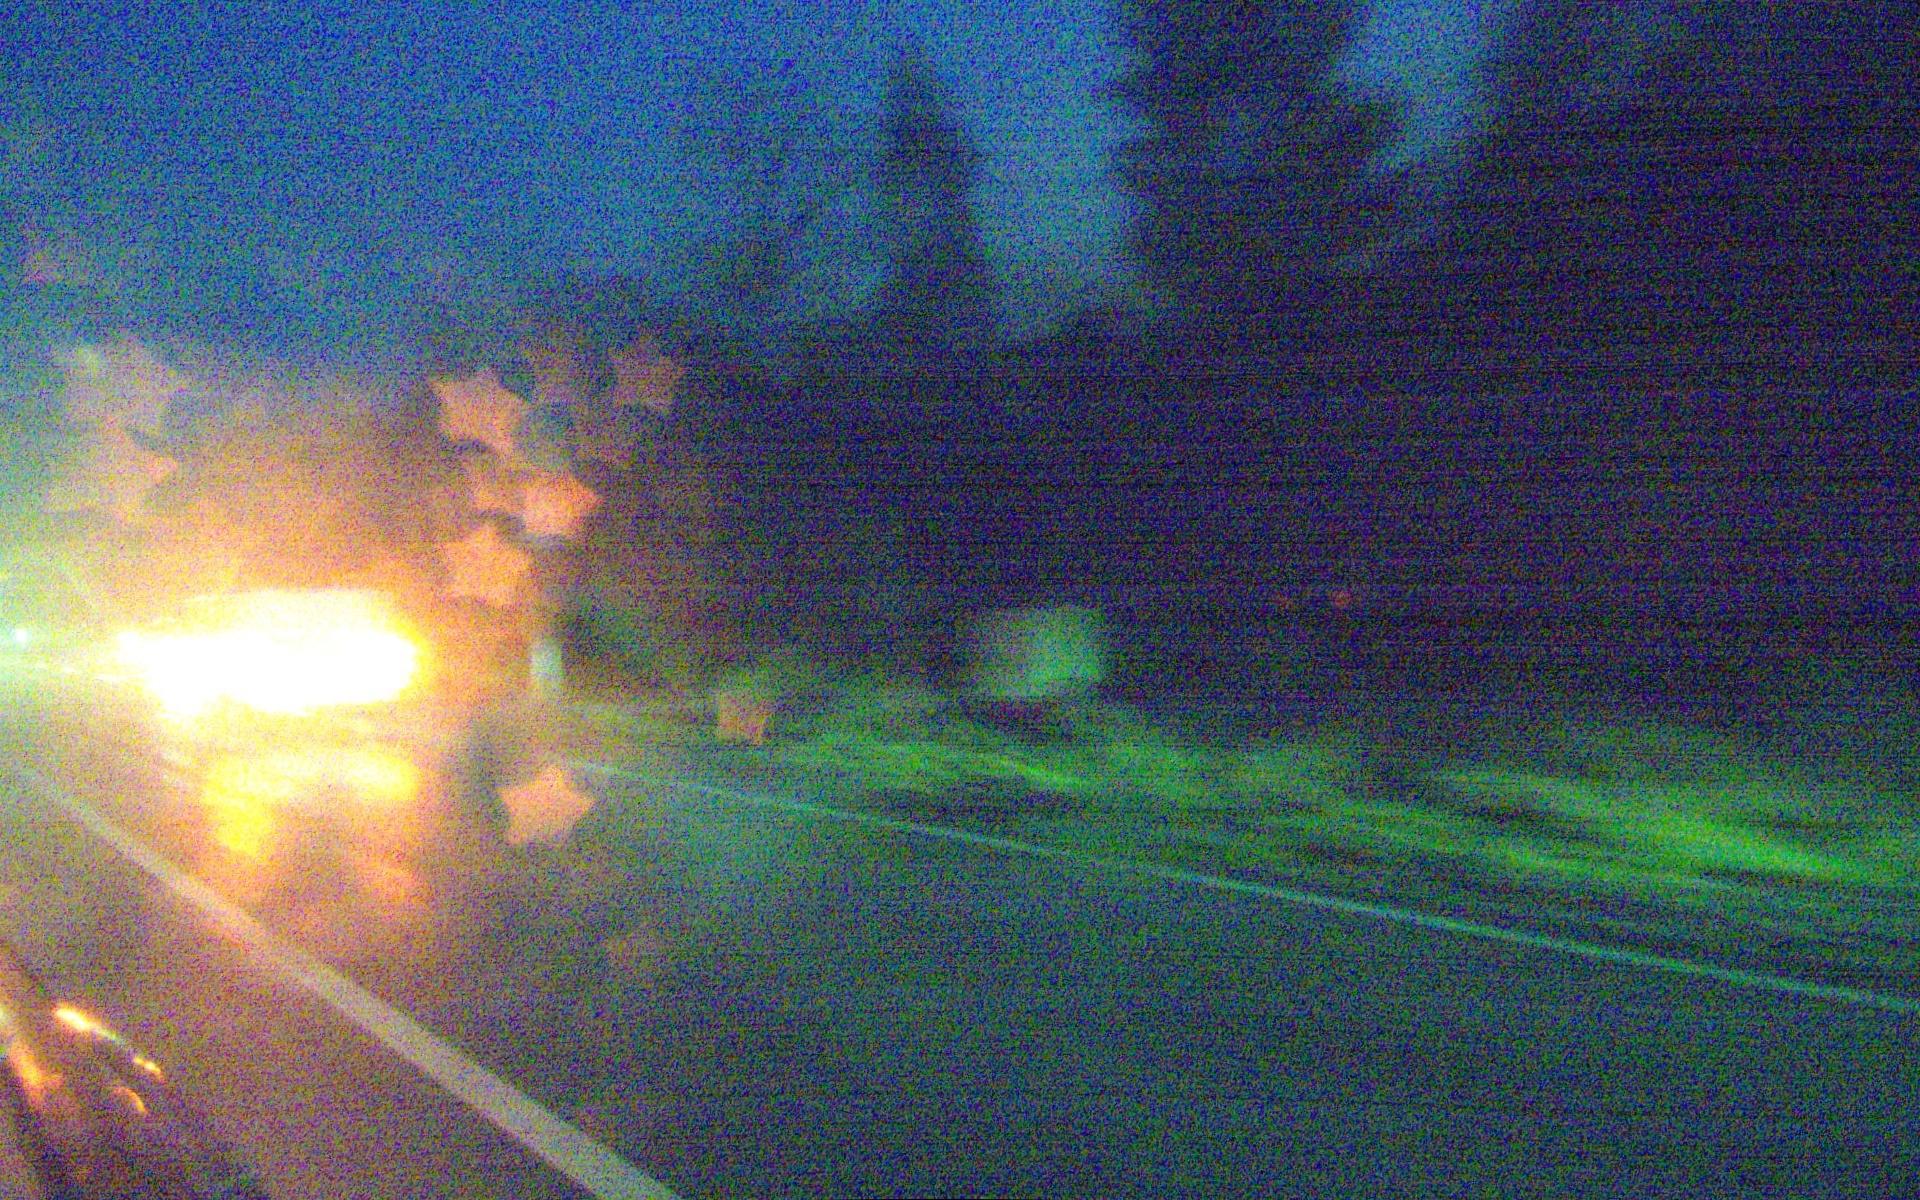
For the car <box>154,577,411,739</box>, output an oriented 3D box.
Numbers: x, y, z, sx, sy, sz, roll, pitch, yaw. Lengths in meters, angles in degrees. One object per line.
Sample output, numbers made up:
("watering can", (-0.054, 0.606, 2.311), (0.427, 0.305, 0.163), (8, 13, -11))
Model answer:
("car", (-9.421, 0.671, 13.922), (4.442, 1.874, 1.972), (-1, 0, 43))
